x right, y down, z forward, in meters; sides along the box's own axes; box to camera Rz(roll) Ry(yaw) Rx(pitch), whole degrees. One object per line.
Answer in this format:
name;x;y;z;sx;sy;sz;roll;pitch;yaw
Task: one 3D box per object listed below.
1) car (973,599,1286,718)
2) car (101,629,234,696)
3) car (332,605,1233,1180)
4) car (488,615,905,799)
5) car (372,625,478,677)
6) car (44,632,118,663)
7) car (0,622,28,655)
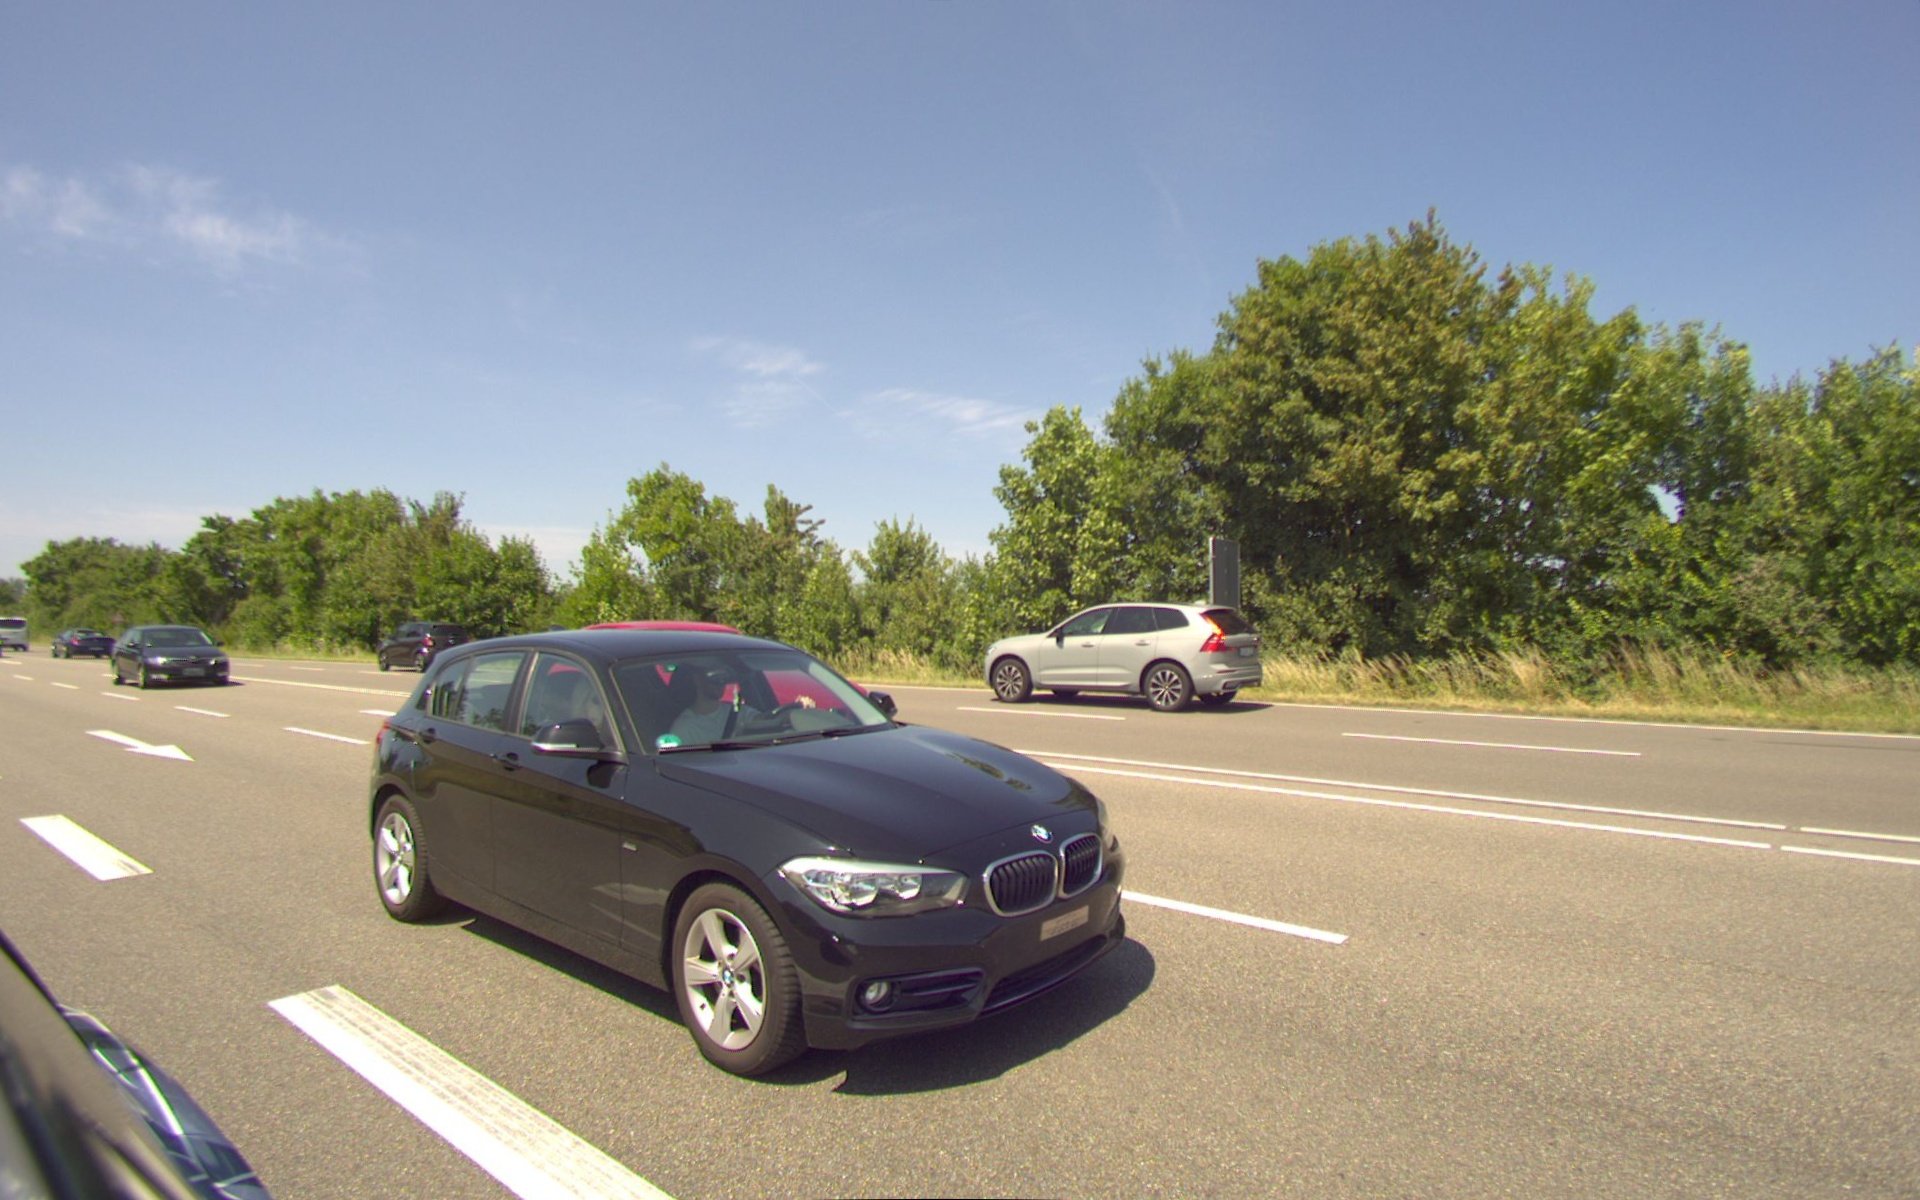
car;2.622;0.851;16.240;4.563;1.652;2.008;-1;-1;39
car;-19.152;1.444;24.389;4.464;1.422;1.657;-1;-1;40
car;-1.175;0.807;4.703;4.378;1.441;1.765;-2;-1;41
car;-2.816;0.927;10.195;4.562;1.432;1.731;-2;-1;40
car;-16.627;1.531;31.386;3.554;1.499;1.629;-1;-1;39
car;-40.532;2.157;46.631;4.761;1.289;1.787;-1;-1;39
car;-57.938;2.305;61.032;5.047;1.932;1.886;-2;-3;40
